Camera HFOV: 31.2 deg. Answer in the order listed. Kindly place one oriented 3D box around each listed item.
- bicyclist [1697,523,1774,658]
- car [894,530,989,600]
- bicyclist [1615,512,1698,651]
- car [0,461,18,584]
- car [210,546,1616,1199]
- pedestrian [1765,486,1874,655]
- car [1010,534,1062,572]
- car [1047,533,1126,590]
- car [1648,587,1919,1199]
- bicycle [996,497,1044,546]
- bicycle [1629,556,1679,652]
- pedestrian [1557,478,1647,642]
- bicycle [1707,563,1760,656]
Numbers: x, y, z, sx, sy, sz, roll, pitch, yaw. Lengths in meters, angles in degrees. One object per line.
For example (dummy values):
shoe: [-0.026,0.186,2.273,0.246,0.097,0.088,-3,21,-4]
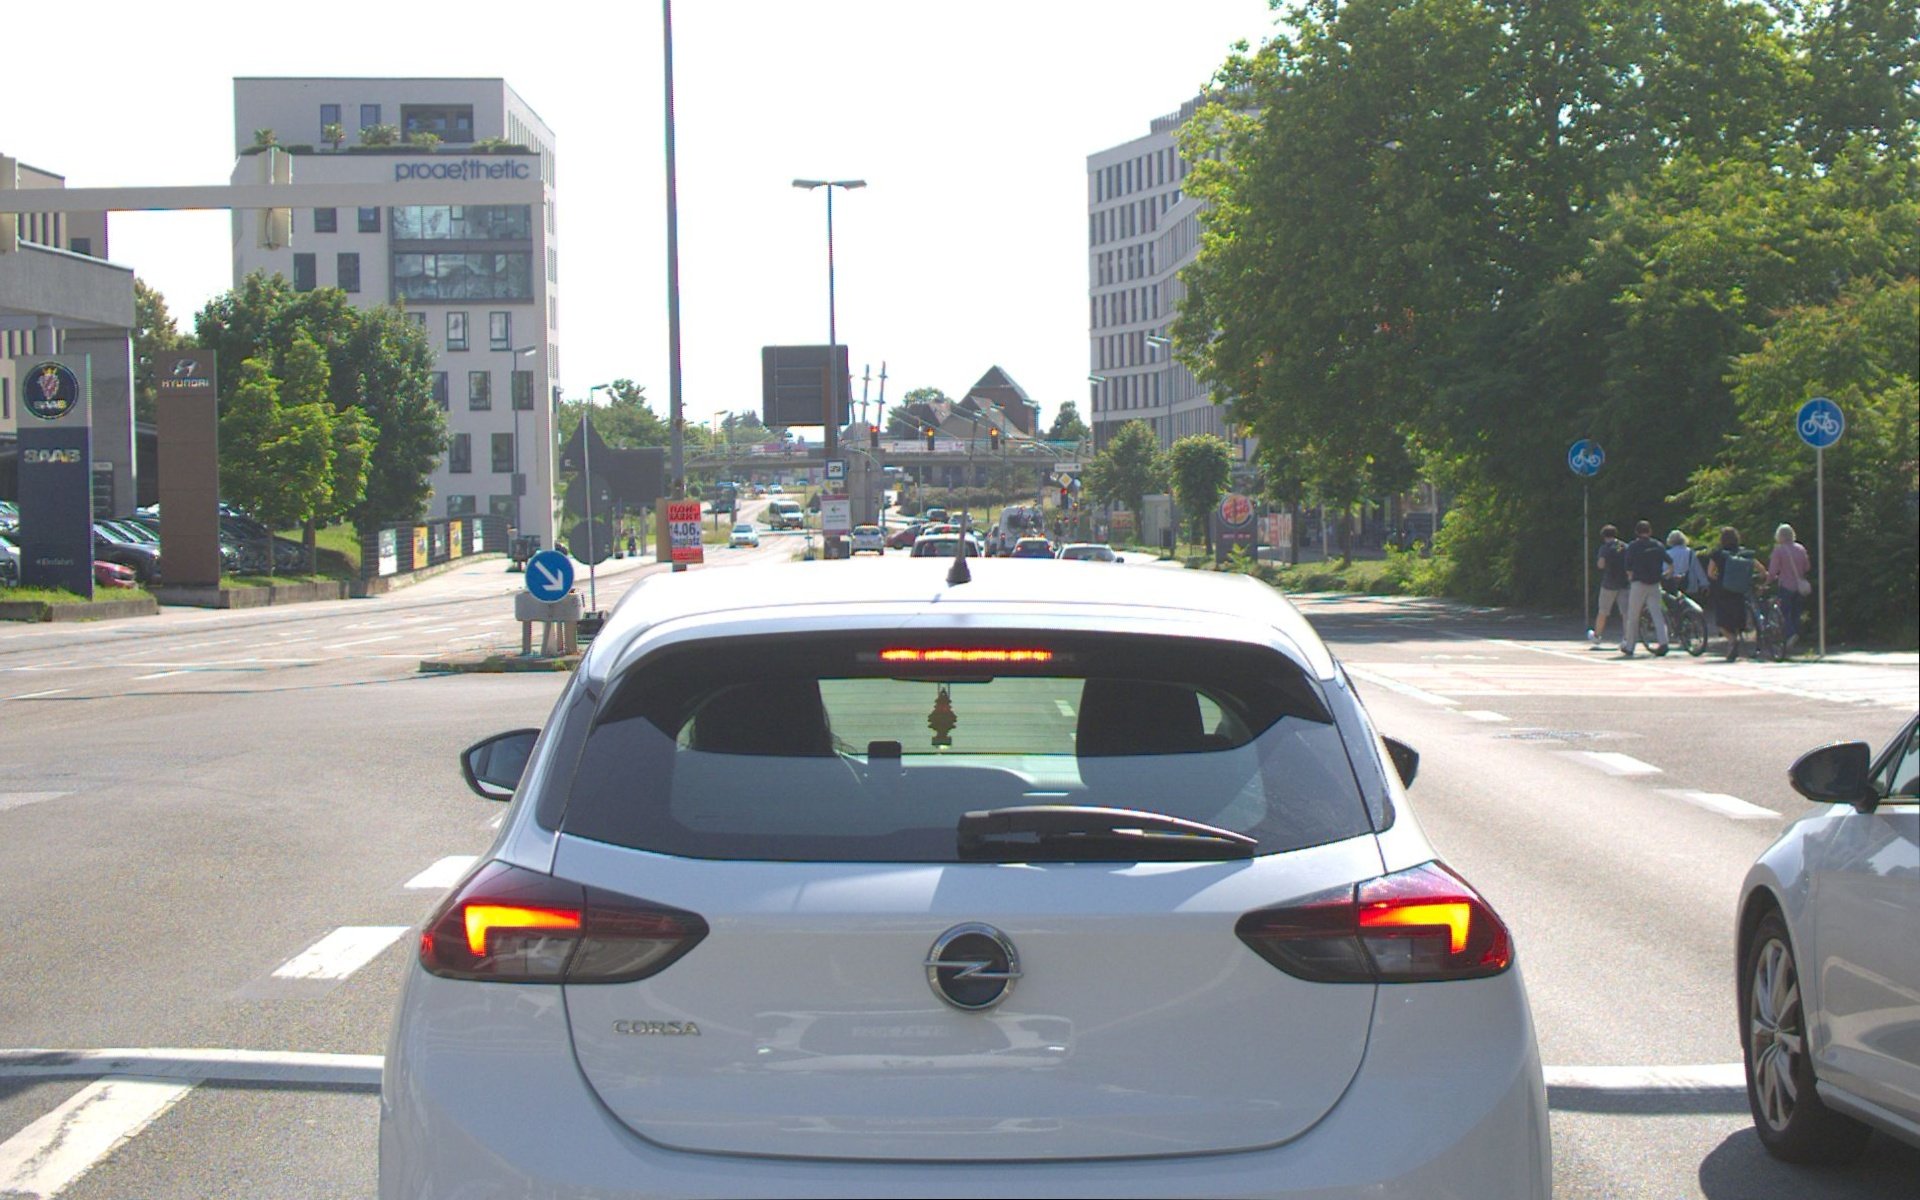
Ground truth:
bicyclist: [9.595,-0.125,42.563,0.688,1.637,0.777,-1,1,-9]
car: [-0.402,-0.722,70.044,1.806,1.381,4.001,0,1,-2]
bicyclist: [8.973,-0.239,44.332,0.879,1.766,0.864,-1,1,0]
car: [-22.536,-1.627,73.153,4.357,2.592,2.000,-1,1,5]
car: [-0.081,0.662,6.379,1.779,1.489,4.000,-1,1,-1]
pedestrian: [10.371,-0.358,41.519,1.027,2.007,1.039,-1,1,-1]
car: [2.883,-1.768,130.906,1.806,1.381,4.000,1,0,-1]
car: [3.190,-0.973,87.277,1.806,1.381,4.000,1,0,-1]
car: [2.819,0.698,6.997,1.807,1.424,4.001,-1,1,-3]
bicycle: [2.685,-3.537,154.937,1.993,2.150,4.000,-1,1,-1]
bicycle: [8.948,0.043,44.342,0.372,1.212,1.154,1,1,-1]
pedestrian: [8.880,-0.553,47.570,1.027,2.231,1.039,-1,1,-1]
bicycle: [9.574,0.113,42.571,0.373,1.143,1.034,1,0,-3]
